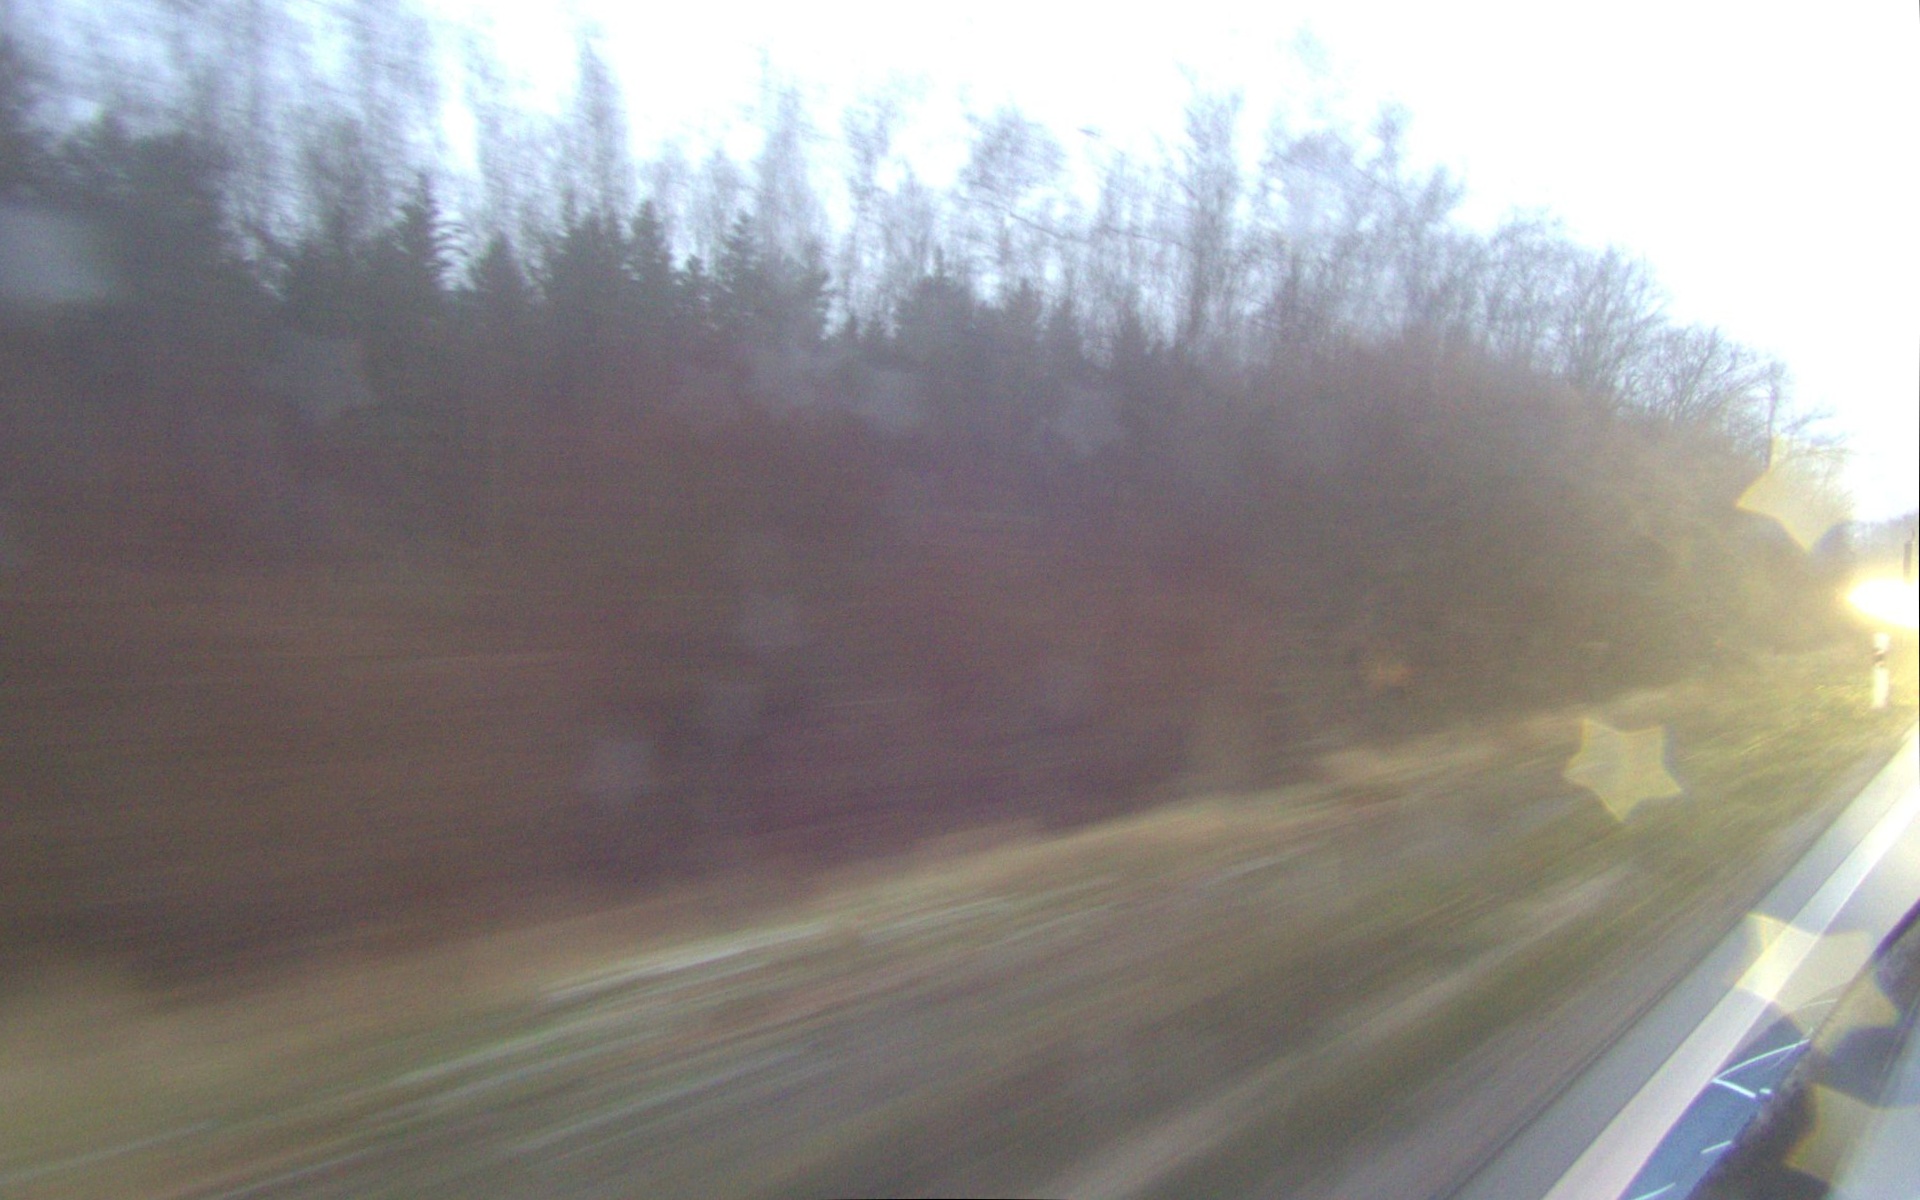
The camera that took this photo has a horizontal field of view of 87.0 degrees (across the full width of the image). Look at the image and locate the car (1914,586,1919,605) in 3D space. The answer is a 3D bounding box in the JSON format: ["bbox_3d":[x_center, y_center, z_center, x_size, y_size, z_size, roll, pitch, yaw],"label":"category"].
[{"bbox_3d":[93.315,-0.476,97.563,1.694,1.752,3.944,1,2,39],"label":"car"}]
